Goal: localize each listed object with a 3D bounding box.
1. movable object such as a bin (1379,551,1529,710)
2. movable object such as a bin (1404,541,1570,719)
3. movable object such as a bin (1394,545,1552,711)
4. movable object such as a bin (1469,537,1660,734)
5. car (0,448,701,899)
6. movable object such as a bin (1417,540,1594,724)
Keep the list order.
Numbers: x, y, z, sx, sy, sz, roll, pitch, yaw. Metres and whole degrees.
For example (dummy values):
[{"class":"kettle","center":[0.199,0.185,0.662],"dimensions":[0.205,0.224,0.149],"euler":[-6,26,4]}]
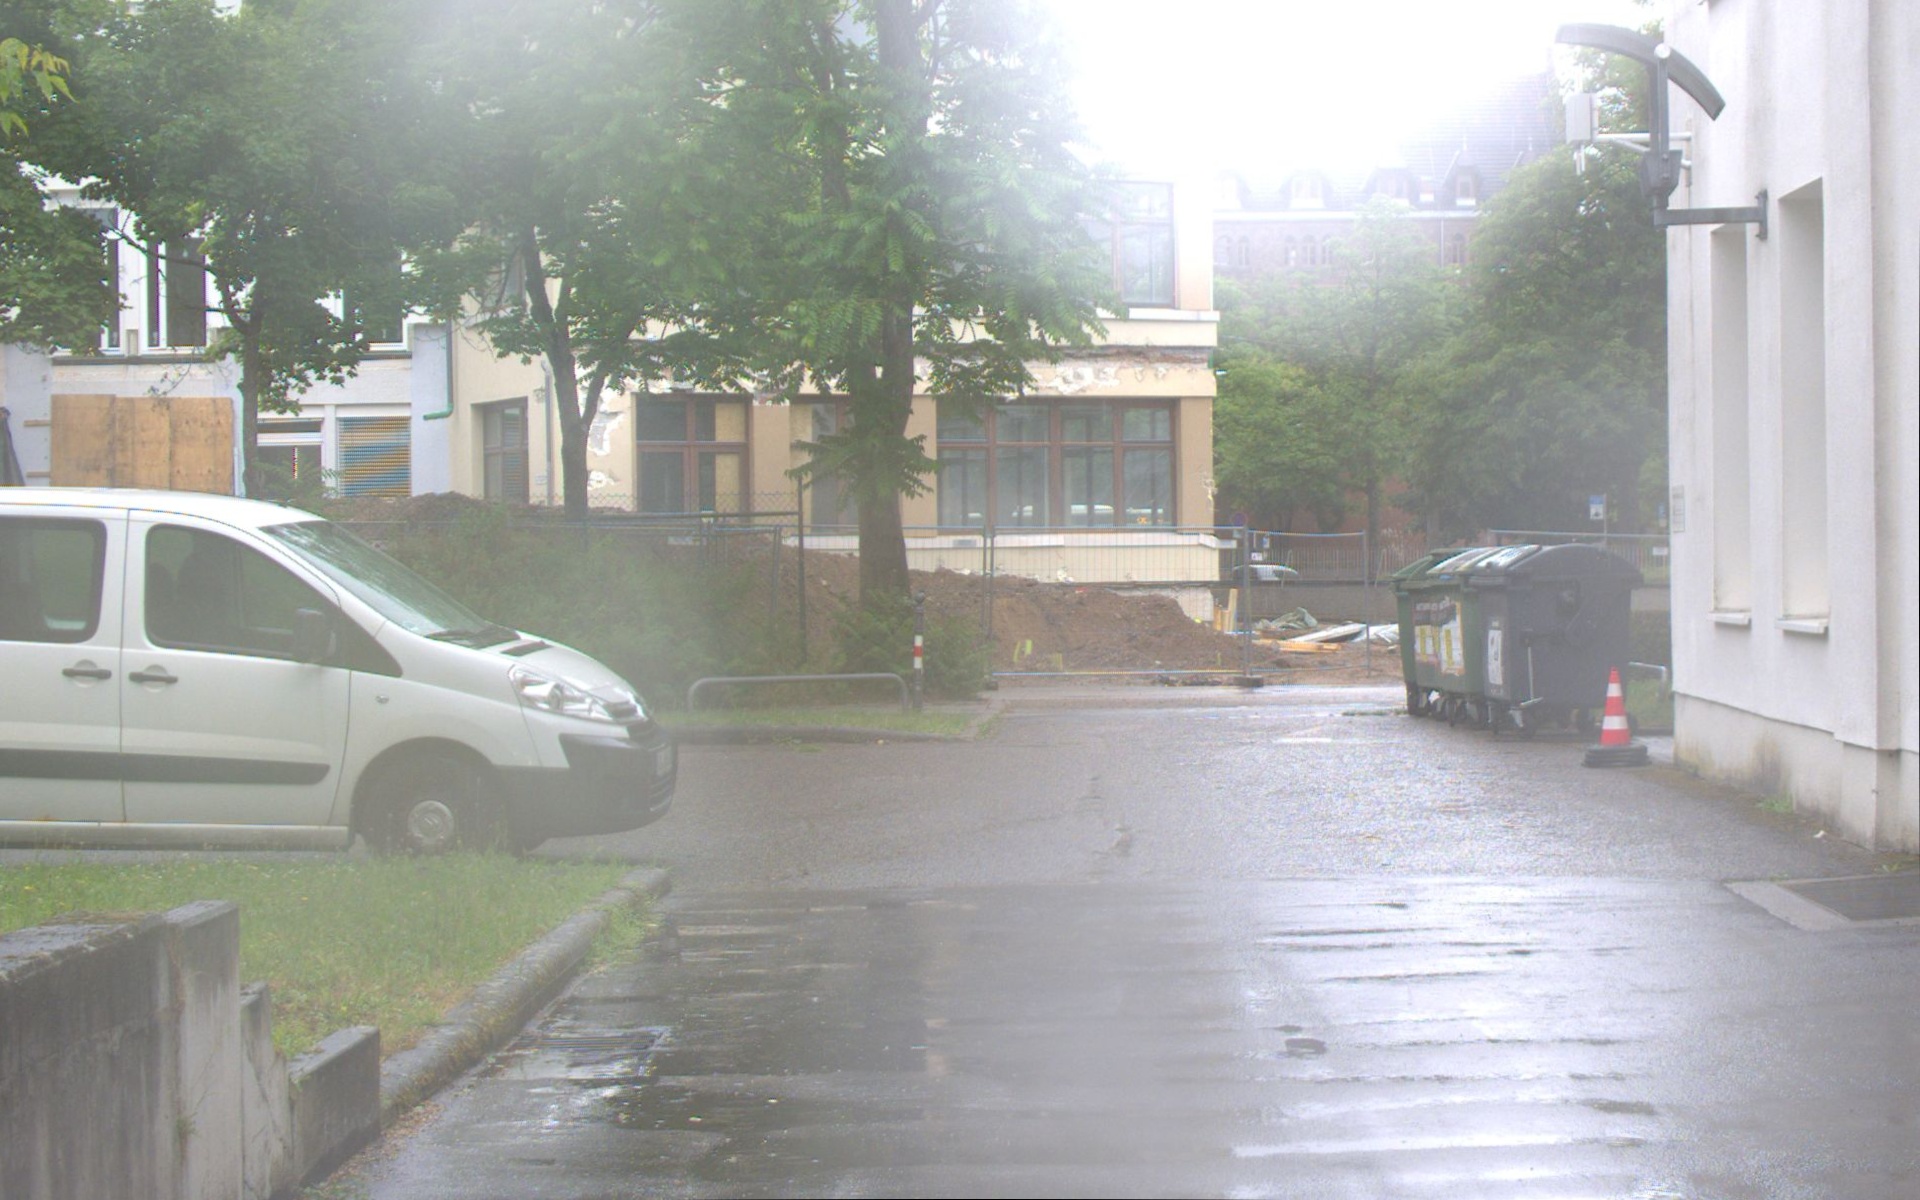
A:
[{"class":"movable object such as a bin","center":[4.557,0.293,31.795],"dimensions":[1.214,1.432,1.259],"euler":[0,-2,1]},{"class":"movable object such as a bin","center":[4.435,0.261,29.040],"dimensions":[1.214,1.463,1.236],"euler":[0,-2,1]},{"class":"movable object such as a bin","center":[4.521,0.259,30.417],"dimensions":[1.214,1.432,1.259],"euler":[0,-2,1]},{"class":"movable object such as a bin","center":[4.501,0.272,25.711],"dimensions":[1.214,1.432,1.236],"euler":[0,-2,1]},{"class":"car","center":[-3.804,0.340,16.830],"dimensions":[4.781,2.007,2.000],"euler":[-1,1,4]},{"class":"movable object such as a bin","center":[4.330,0.263,27.412],"dimensions":[1.214,1.432,1.294],"euler":[0,-2,1]}]
